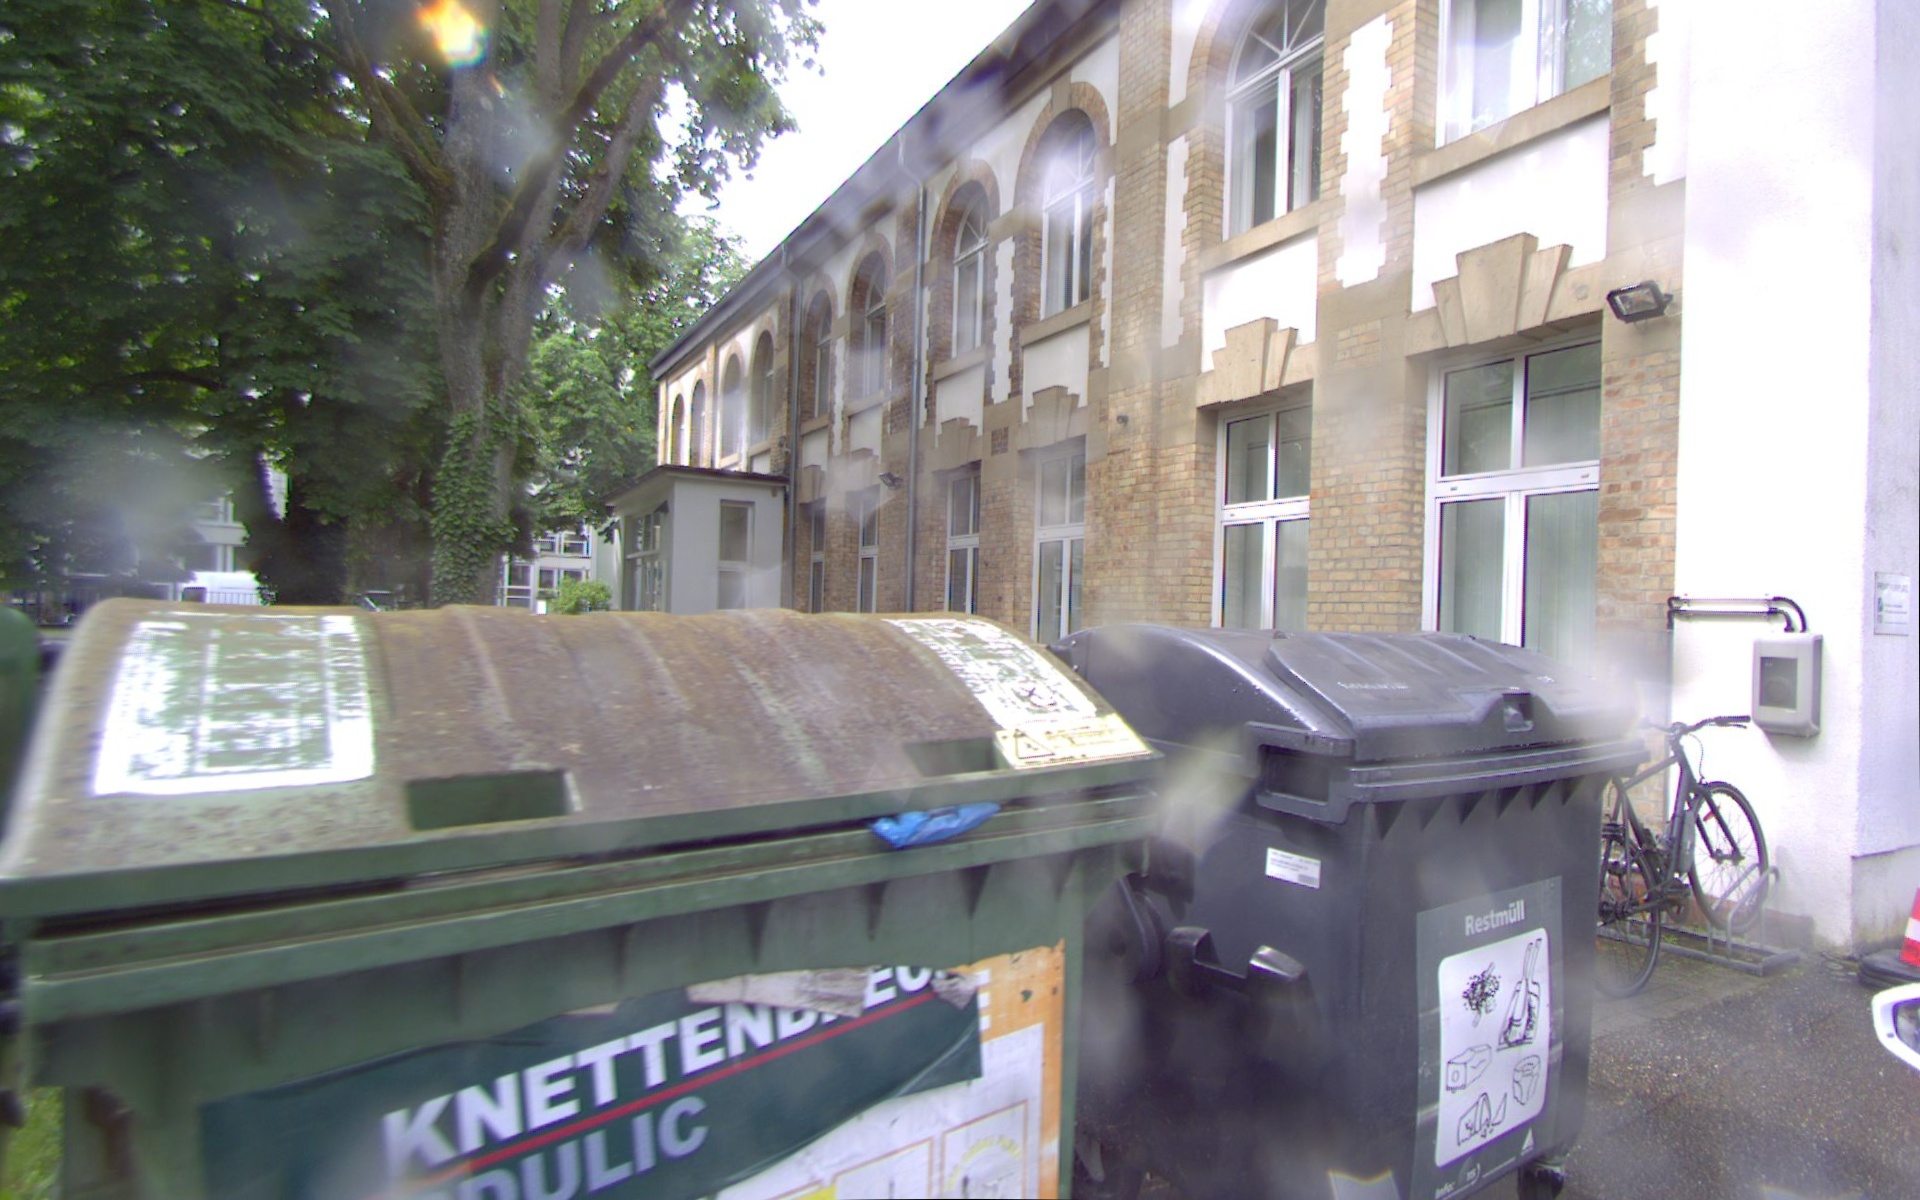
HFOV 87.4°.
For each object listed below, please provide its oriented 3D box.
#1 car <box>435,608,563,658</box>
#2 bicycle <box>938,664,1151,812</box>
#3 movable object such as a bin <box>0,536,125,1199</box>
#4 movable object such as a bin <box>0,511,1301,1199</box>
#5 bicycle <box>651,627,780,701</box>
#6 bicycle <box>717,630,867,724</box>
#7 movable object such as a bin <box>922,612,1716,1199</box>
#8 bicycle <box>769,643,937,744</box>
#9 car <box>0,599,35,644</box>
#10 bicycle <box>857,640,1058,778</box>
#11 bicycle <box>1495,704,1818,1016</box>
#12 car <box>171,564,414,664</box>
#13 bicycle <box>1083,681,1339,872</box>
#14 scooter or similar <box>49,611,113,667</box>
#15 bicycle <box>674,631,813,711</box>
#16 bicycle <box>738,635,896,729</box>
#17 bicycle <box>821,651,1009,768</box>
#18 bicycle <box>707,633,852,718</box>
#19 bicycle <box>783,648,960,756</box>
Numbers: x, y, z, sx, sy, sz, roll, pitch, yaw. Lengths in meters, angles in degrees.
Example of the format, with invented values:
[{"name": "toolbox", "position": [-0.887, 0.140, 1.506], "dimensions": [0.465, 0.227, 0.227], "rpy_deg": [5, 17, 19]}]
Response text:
[{"name": "car", "position": [-15.242, 1.116, 33.342], "dimensions": [1.882, 1.571, 3.361], "rpy_deg": [-1, -3, 34]}, {"name": "bicycle", "position": [0.745, 1.137, 8.566], "dimensions": [1.767, 1.130, 0.612], "rpy_deg": [3, -2, -30]}, {"name": "movable object such as a bin", "position": [-1.711, 0.672, 0.862], "dimensions": [1.388, 1.503, 1.157], "rpy_deg": [1, 0, -34]}, {"name": "movable object such as a bin", "position": [-0.423, 0.734, 1.550], "dimensions": [1.482, 1.502, 1.157], "rpy_deg": [3, -3, -35]}, {"name": "bicycle", "position": [-3.922, 1.039, 16.205], "dimensions": [1.904, 1.130, 0.612], "rpy_deg": [3, -2, -30]}, {"name": "bicycle", "position": [-2.259, 1.008, 13.594], "dimensions": [1.904, 1.192, 0.612], "rpy_deg": [1, -1, -30]}, {"name": "movable object such as a bin", "position": [0.887, 0.817, 2.490], "dimensions": [1.579, 1.502, 1.157], "rpy_deg": [3, -3, -35]}, {"name": "bicycle", "position": [-1.271, 1.112, 12.092], "dimensions": [1.904, 1.130, 0.612], "rpy_deg": [3, -2, -30]}, {"name": "car", "position": [-33.914, 0.737, 33.698], "dimensions": [3.814, 1.473, 1.774], "rpy_deg": [0, -1, -13]}, {"name": "bicycle", "position": [-0.002, 1.039, 9.826], "dimensions": [1.904, 1.240, 0.612], "rpy_deg": [3, -2, -30]}, {"name": "bicycle", "position": [3.130, 1.057, 4.484], "dimensions": [1.502, 1.130, 0.612], "rpy_deg": [3, -2, -30]}, {"name": "car", "position": [-18.521, 0.461, 28.186], "dimensions": [2.103, 2.543, 5.261], "rpy_deg": [-1, -3, 32]}, {"name": "bicycle", "position": [1.738, 1.137, 6.853], "dimensions": [1.767, 1.130, 0.612], "rpy_deg": [3, -2, -30]}, {"name": "scooter or similar", "position": [-20.994, 0.934, 23.994], "dimensions": [1.125, 1.293, 0.427], "rpy_deg": [2, -3, 7]}, {"name": "bicycle", "position": [-3.208, 1.055, 14.966], "dimensions": [1.904, 1.130, 0.612], "rpy_deg": [3, -2, -30]}, {"name": "bicycle", "position": [-1.818, 1.045, 12.928], "dimensions": [1.904, 1.130, 0.612], "rpy_deg": [3, -2, -30]}, {"name": "bicycle", "position": [-0.453, 1.130, 10.628], "dimensions": [1.904, 1.130, 0.612], "rpy_deg": [3, -2, -30]}, {"name": "bicycle", "position": [-2.544, 1.061, 14.233], "dimensions": [1.904, 1.130, 0.612], "rpy_deg": [3, -2, -30]}, {"name": "bicycle", "position": [-0.984, 1.142, 11.420], "dimensions": [1.904, 1.130, 0.612], "rpy_deg": [3, -2, -30]}]
